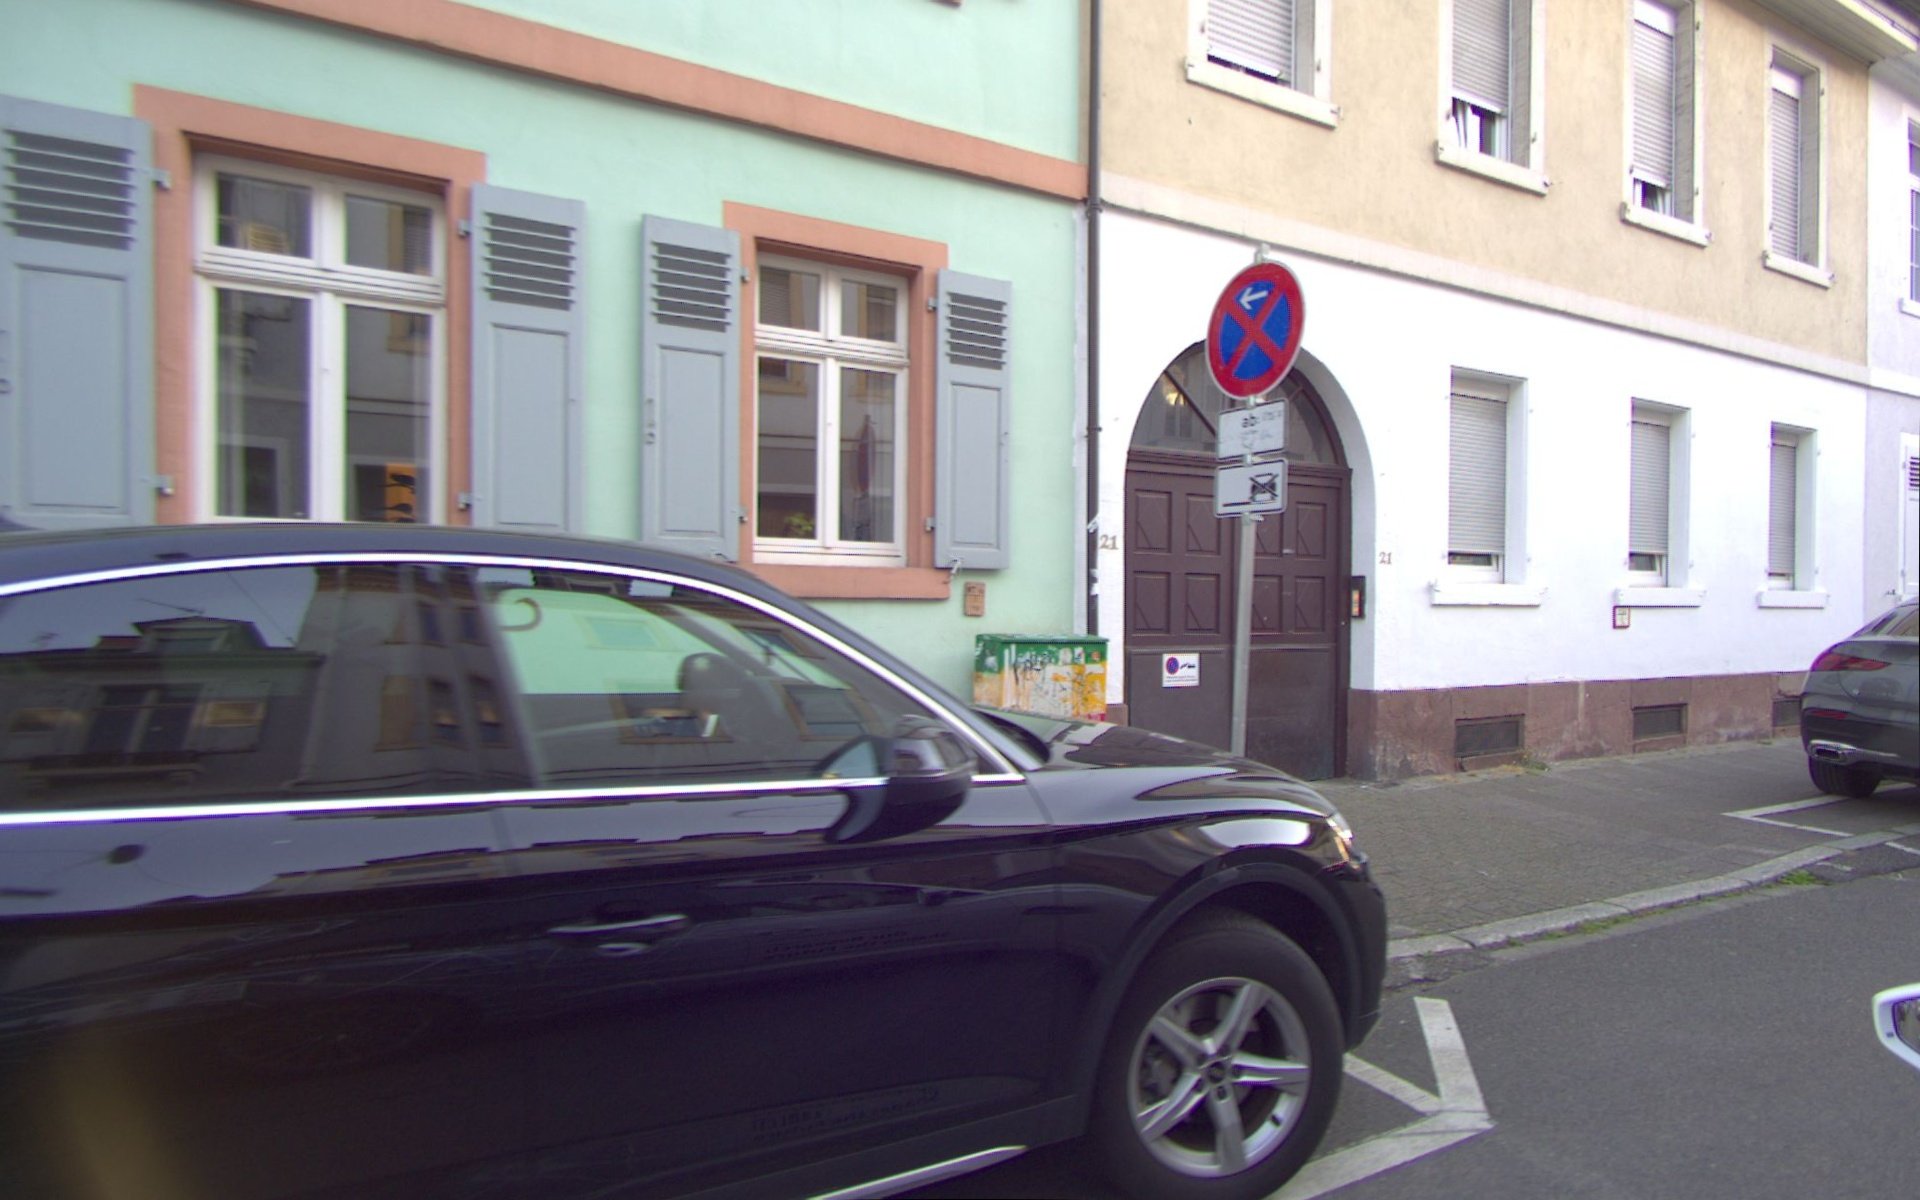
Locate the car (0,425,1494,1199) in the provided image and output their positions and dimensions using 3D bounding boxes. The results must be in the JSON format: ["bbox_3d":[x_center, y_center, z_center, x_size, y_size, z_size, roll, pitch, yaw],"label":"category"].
[{"bbox_3d":[-0.926,0.620,2.548,4.430,1.699,1.797,0,0,-26],"label":"car"}]

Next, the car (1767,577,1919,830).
[{"bbox_3d":[8.602,0.736,7.873,4.480,1.730,1.989,0,1,-29],"label":"car"}]
